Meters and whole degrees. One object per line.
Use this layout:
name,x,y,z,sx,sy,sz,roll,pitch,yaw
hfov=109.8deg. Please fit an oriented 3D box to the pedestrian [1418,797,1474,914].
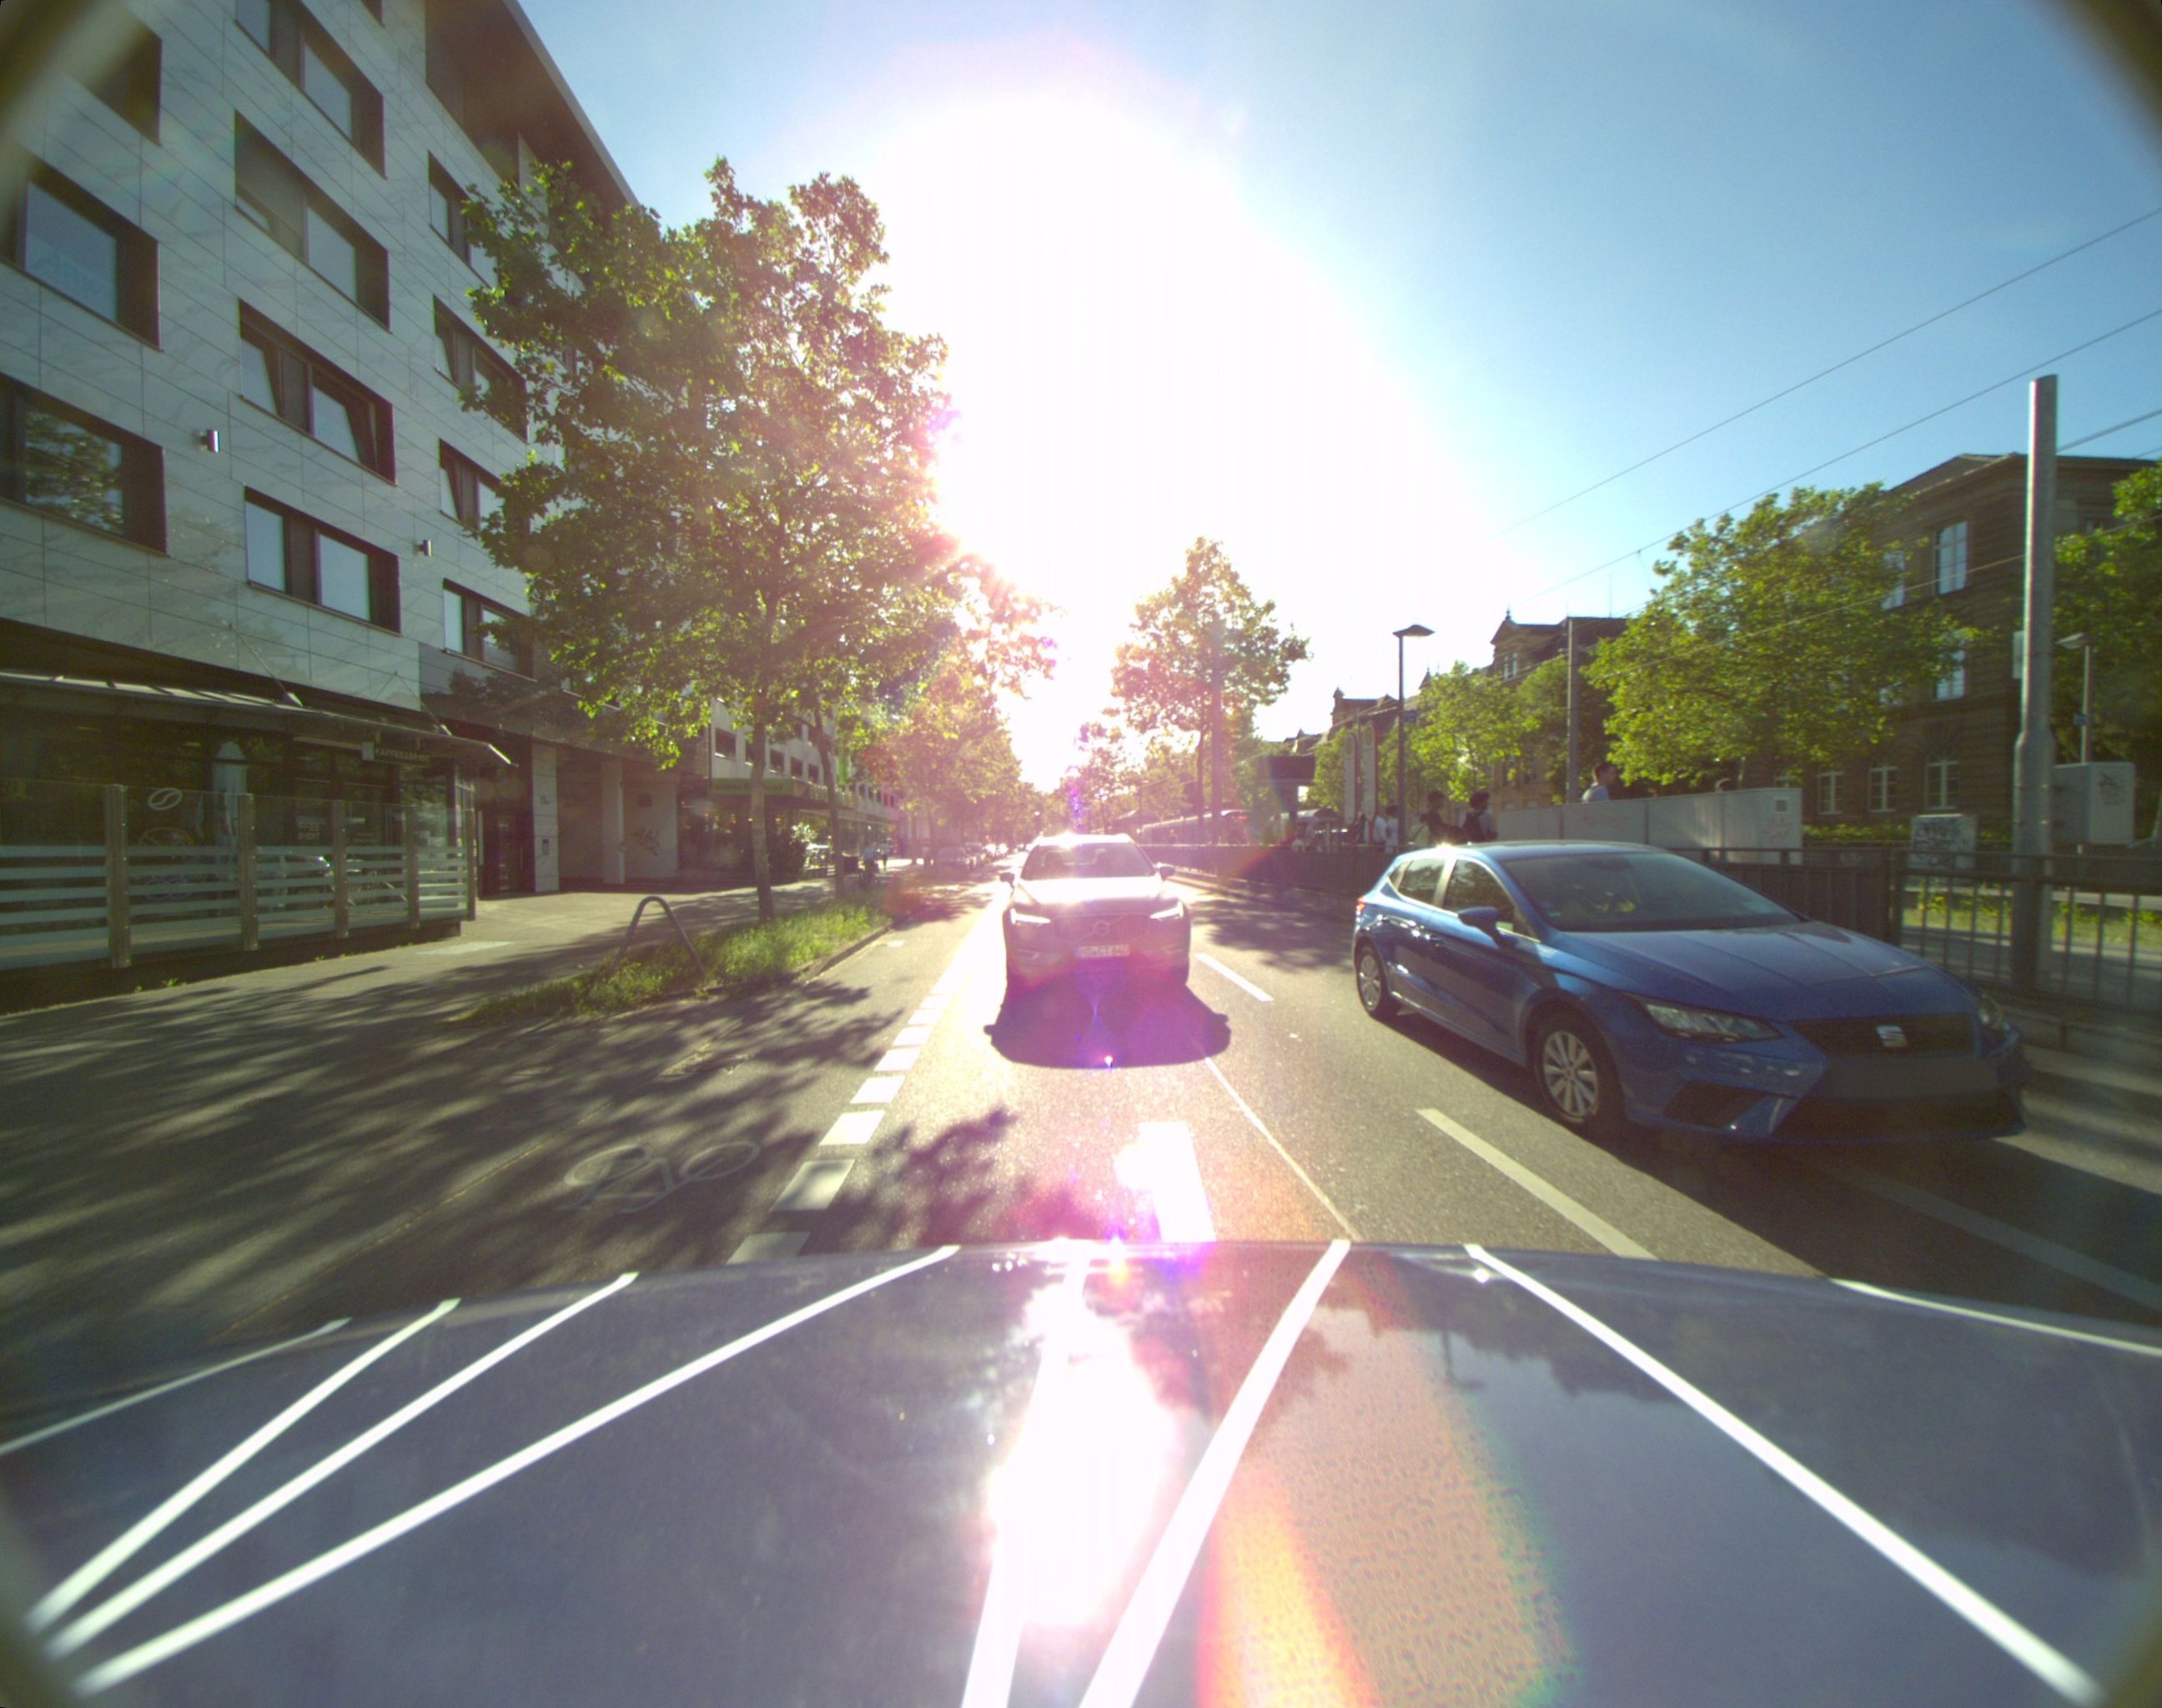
pedestrian,5.508,0.012,11.482,0.549,1.724,0.539,-1,2,-8

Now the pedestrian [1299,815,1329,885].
pedestrian,5.758,-0.095,18.805,0.516,1.698,0.621,0,2,-4

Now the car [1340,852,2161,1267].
car,3.175,0.762,4.762,1.707,1.408,3.874,-2,1,-1

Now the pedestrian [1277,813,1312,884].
pedestrian,5.149,-0.129,18.324,0.662,1.687,0.570,0,2,-3

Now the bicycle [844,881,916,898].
bicycle,-5.370,0.948,20.438,1.613,0.351,1.388,0,1,-4

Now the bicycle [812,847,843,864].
bicycle,-14.440,0.077,43.242,1.648,0.911,0.587,2,-1,23

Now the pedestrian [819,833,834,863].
pedestrian,-15.126,-0.349,45.150,0.614,1.706,0.611,5,0,-28

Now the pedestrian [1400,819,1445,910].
pedestrian,6.744,0.201,15.031,0.555,1.760,0.611,-1,2,-8

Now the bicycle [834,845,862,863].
bicycle,-14.978,-0.013,48.778,1.700,1.049,0.587,2,1,23

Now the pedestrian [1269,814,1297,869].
pedestrian,6.036,-0.372,22.720,0.620,1.640,0.622,-1,2,-8

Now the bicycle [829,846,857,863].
bicycle,-14.950,0.027,47.698,1.700,1.049,0.587,2,0,23

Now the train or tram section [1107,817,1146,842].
train or tram section,4.954,-2.709,86.088,2.570,2.517,15.063,-1,1,-4

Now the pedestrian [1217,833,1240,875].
pedestrian,4.636,-0.001,23.894,0.535,1.292,0.604,0,2,-7

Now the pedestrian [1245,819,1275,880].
pedestrian,4.830,-0.125,20.542,0.662,1.624,0.570,0,2,-3

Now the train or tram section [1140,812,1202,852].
train or tram section,8.770,-2.145,76.796,2.879,3.415,18.265,-2,1,-4

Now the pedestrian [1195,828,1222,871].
pedestrian,4.499,-0.153,26.842,0.778,1.501,0.751,0,2,-7

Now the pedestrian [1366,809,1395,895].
pedestrian,6.047,-0.036,15.332,0.506,1.692,0.612,0,2,24

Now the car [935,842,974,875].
car,-6.523,0.180,39.422,1.569,1.541,3.998,-1,1,-3

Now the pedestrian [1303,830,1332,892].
pedestrian,5.042,0.136,16.218,0.417,1.308,0.506,0,2,-6

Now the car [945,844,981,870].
car,-7.132,0.159,46.380,1.766,1.410,4.697,-2,1,-4

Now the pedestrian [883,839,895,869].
pedestrian,-11.369,-0.025,44.977,0.561,1.734,0.878,0,2,-4

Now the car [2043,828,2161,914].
car,23.104,0.356,15.296,1.999,1.653,4.226,-3,2,-4

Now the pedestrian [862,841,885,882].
pedestrian,-8.392,0.297,30.773,0.700,1.603,0.867,1,2,-2

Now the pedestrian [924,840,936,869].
pedestrian,-8.966,0.033,45.099,0.561,1.694,1.051,0,2,-4

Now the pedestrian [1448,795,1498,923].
pedestrian,5.476,0.065,10.610,0.538,1.724,0.550,1,2,35

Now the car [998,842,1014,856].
car,-8.098,-0.539,81.989,1.630,1.434,3.928,1,1,-4

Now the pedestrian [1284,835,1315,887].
pedestrian,5.050,0.162,17.566,0.546,1.185,0.530,0,2,-4

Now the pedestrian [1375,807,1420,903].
pedestrian,5.707,0.011,13.732,0.507,1.692,0.611,-1,2,-8

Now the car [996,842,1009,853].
car,-11.663,-1.021,112.945,1.839,1.556,4.271,-2,1,-4

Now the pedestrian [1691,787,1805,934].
pedestrian,7.568,0.050,8.651,0.642,1.611,0.640,-1,4,-7

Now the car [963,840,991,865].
car,-7.658,-0.119,56.239,1.769,1.781,4.390,0,1,-4

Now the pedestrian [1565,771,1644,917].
pedestrian,6.348,-0.124,9.235,0.549,1.724,0.539,-1,2,-8

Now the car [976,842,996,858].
car,-8.917,-0.388,71.516,1.678,1.430,3.687,2,2,-5

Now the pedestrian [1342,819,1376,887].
pedestrian,6.217,-0.029,16.996,0.546,1.510,0.530,0,2,-4

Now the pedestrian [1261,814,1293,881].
pedestrian,5.011,-0.157,19.449,0.662,1.687,0.570,0,2,-3

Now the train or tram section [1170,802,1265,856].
train or tram section,9.933,-1.812,58.581,2.857,3.415,18.203,-2,1,-4

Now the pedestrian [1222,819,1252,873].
pedestrian,5.108,-0.251,24.907,0.778,1.743,0.722,0,2,-7

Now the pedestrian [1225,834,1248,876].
pedestrian,4.660,0.026,22.805,0.535,1.239,0.604,0,2,-6

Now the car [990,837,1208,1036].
car,0.024,0.686,8.917,1.914,1.696,4.270,-2,2,-4

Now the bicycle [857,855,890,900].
bicycle,-5.585,0.603,20.378,0.791,1.127,1.843,-1,1,-16
